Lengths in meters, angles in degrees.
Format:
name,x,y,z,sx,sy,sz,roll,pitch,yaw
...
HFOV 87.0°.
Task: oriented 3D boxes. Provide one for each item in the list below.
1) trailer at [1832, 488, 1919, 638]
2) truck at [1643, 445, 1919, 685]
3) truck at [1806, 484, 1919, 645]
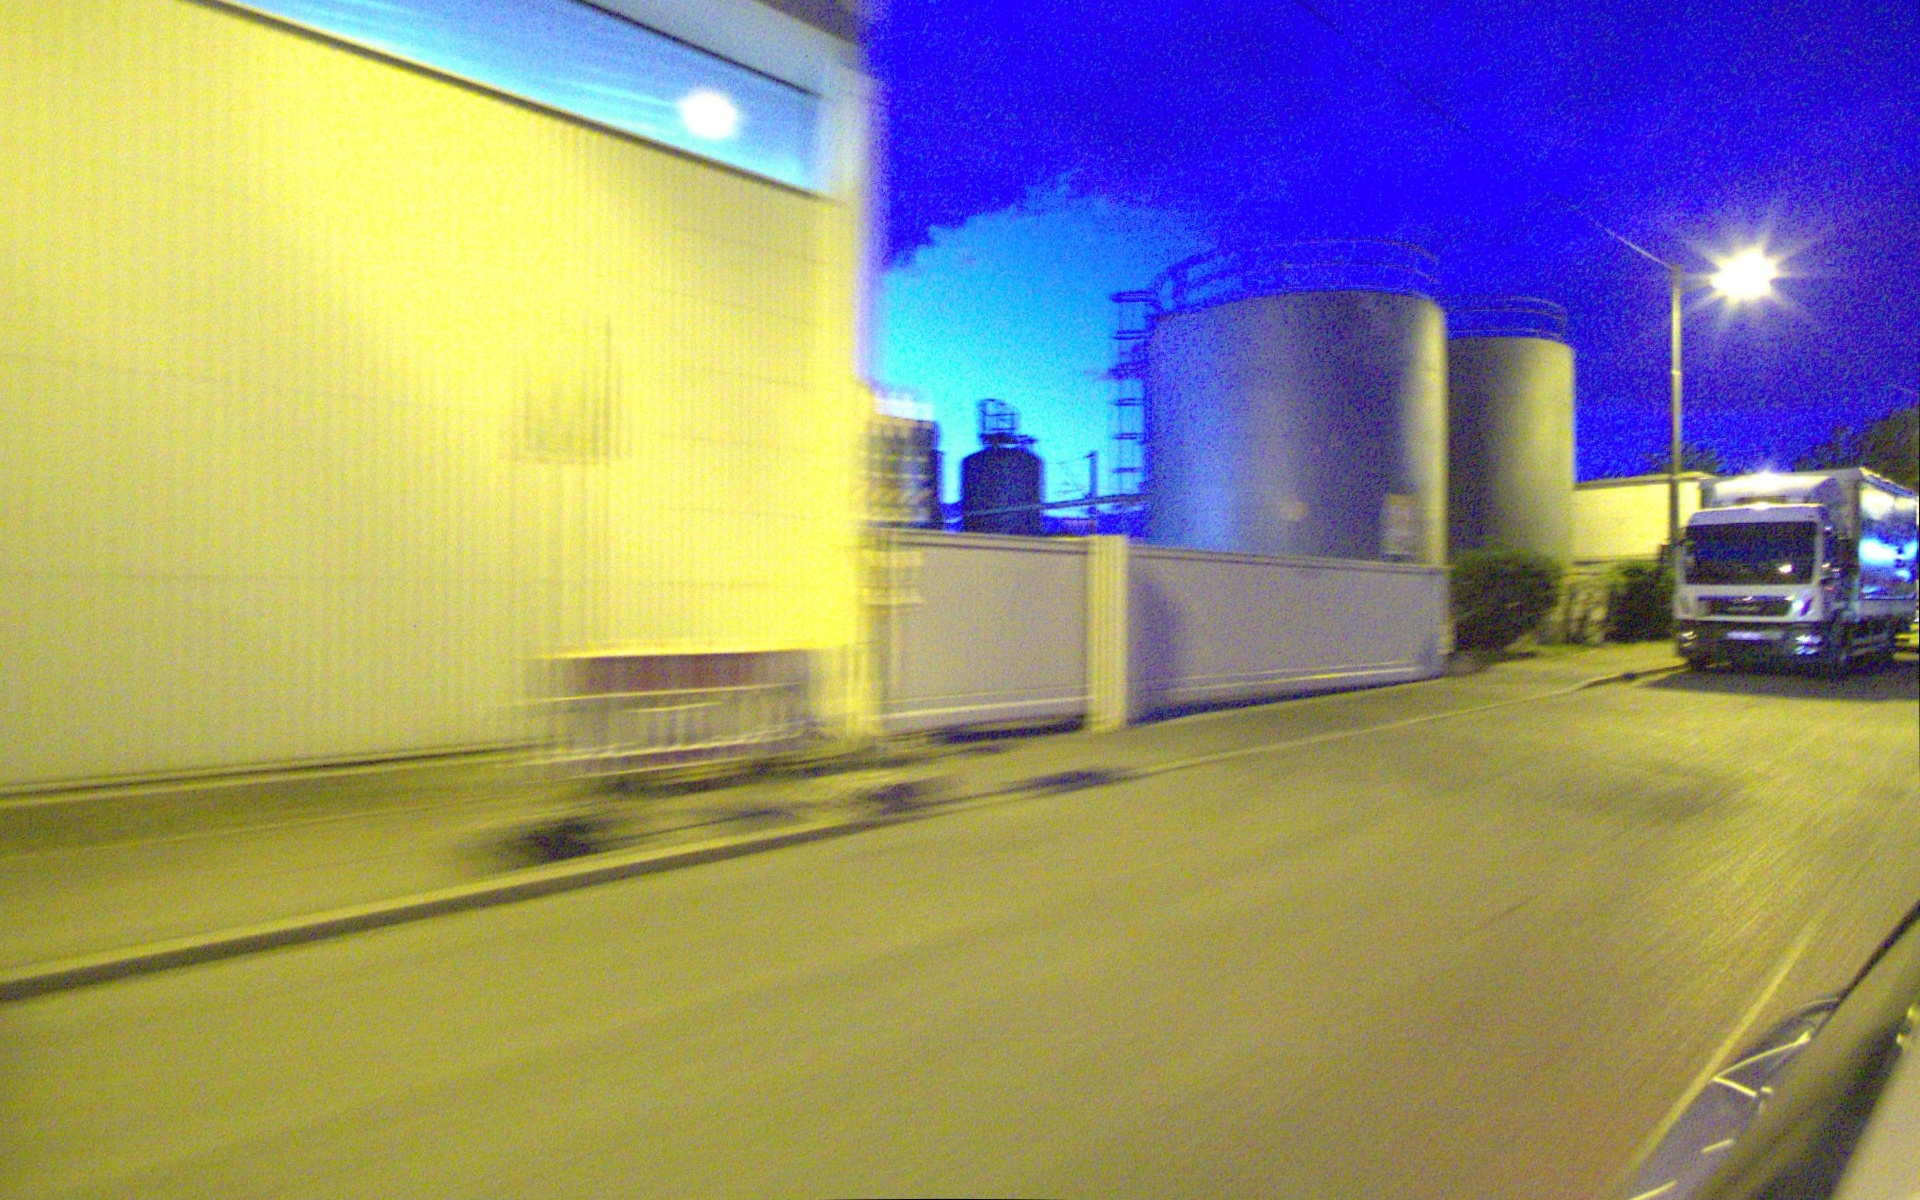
name,x,y,z,sx,sy,sz,roll,pitch,yaw
trailer,31.147,-1.079,31.620,13.712,4.033,2.818,-1,1,-36
truck,17.854,-0.676,21.272,10.154,4.033,2.837,-1,1,-38
truck,26.005,-0.939,27.814,5.936,4.033,2.839,-1,1,-36
